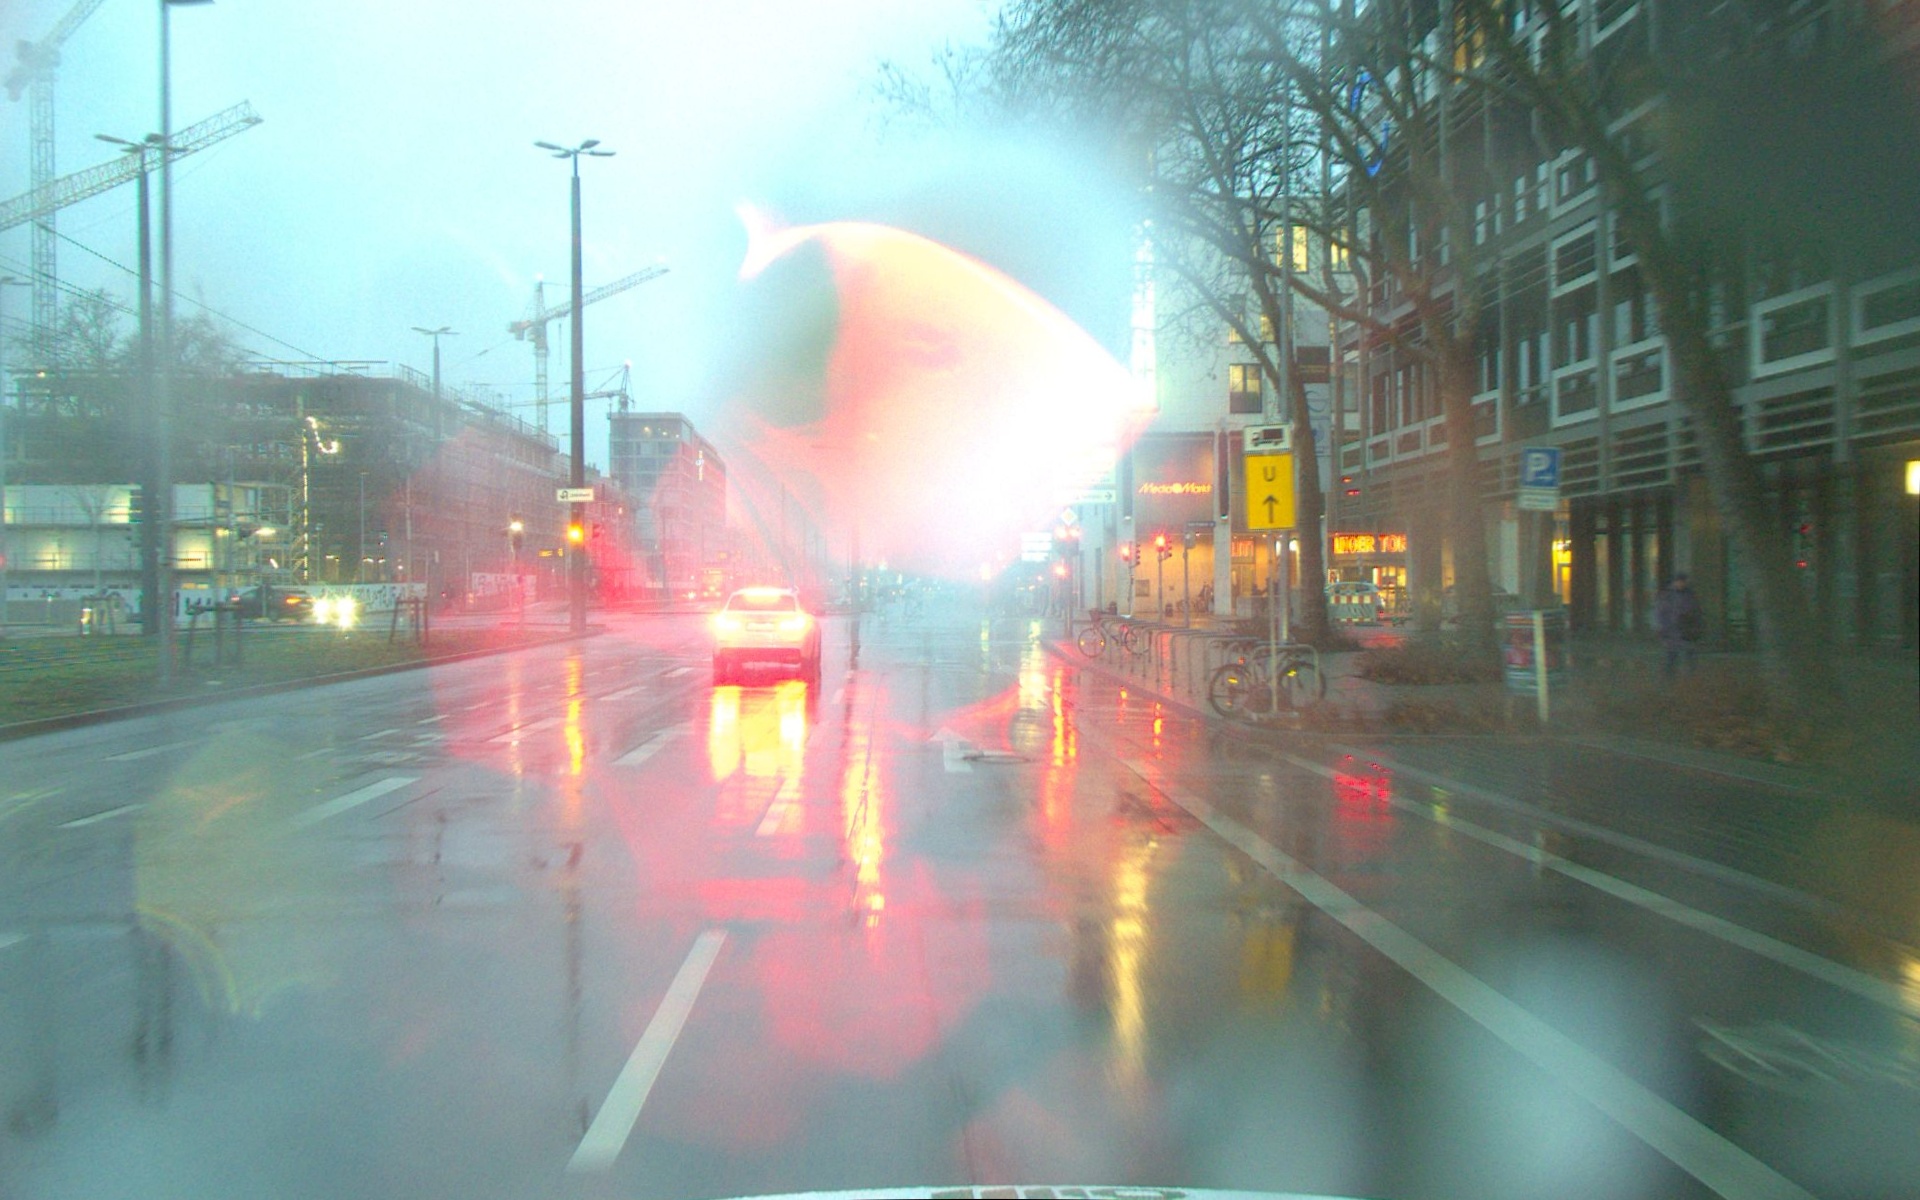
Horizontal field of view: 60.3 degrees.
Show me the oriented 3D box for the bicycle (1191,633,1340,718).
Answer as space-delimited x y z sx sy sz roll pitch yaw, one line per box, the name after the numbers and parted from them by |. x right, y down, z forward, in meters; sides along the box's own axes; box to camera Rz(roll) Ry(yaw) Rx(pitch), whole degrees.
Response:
3.902 0.952 21.155 1.752 0.991 0.617 -2 0 -5 | bicycle

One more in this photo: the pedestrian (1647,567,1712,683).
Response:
9.956 0.342 22.898 0.634 1.571 0.615 -1 0 0 | pedestrian

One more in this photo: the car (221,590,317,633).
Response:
-29.917 0.463 71.769 1.951 1.780 4.004 -1 1 10 | car

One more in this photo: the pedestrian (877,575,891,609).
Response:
-3.994 -0.419 87.096 0.688 1.791 0.667 -1 0 0 | pedestrian

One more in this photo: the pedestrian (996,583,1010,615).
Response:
2.249 -0.059 85.869 0.692 1.647 0.680 -1 0 1 | pedestrian

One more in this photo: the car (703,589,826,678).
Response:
-3.639 0.577 31.574 1.871 1.547 4.922 -1 0 -1 | car

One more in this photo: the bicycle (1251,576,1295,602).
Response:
13.662 -0.477 72.152 1.806 1.112 0.618 -1 0 15 | bicycle

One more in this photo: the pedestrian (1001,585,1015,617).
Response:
2.455 0.053 84.609 0.692 1.647 0.613 -1 0 -3 | pedestrian

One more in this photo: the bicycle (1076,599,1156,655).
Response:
3.521 0.604 37.346 1.716 1.168 0.435 -2 0 -5 | bicycle

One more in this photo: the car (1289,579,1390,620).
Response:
17.149 -0.049 74.880 4.213 1.792 1.707 -1 0 3 | car

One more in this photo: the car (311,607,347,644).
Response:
-36.427 1.439 95.494 1.729 2.049 3.979 -1 0 -18 | car

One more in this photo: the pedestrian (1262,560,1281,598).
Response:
13.602 -0.922 72.173 0.764 1.623 0.613 -1 0 15 | pedestrian
